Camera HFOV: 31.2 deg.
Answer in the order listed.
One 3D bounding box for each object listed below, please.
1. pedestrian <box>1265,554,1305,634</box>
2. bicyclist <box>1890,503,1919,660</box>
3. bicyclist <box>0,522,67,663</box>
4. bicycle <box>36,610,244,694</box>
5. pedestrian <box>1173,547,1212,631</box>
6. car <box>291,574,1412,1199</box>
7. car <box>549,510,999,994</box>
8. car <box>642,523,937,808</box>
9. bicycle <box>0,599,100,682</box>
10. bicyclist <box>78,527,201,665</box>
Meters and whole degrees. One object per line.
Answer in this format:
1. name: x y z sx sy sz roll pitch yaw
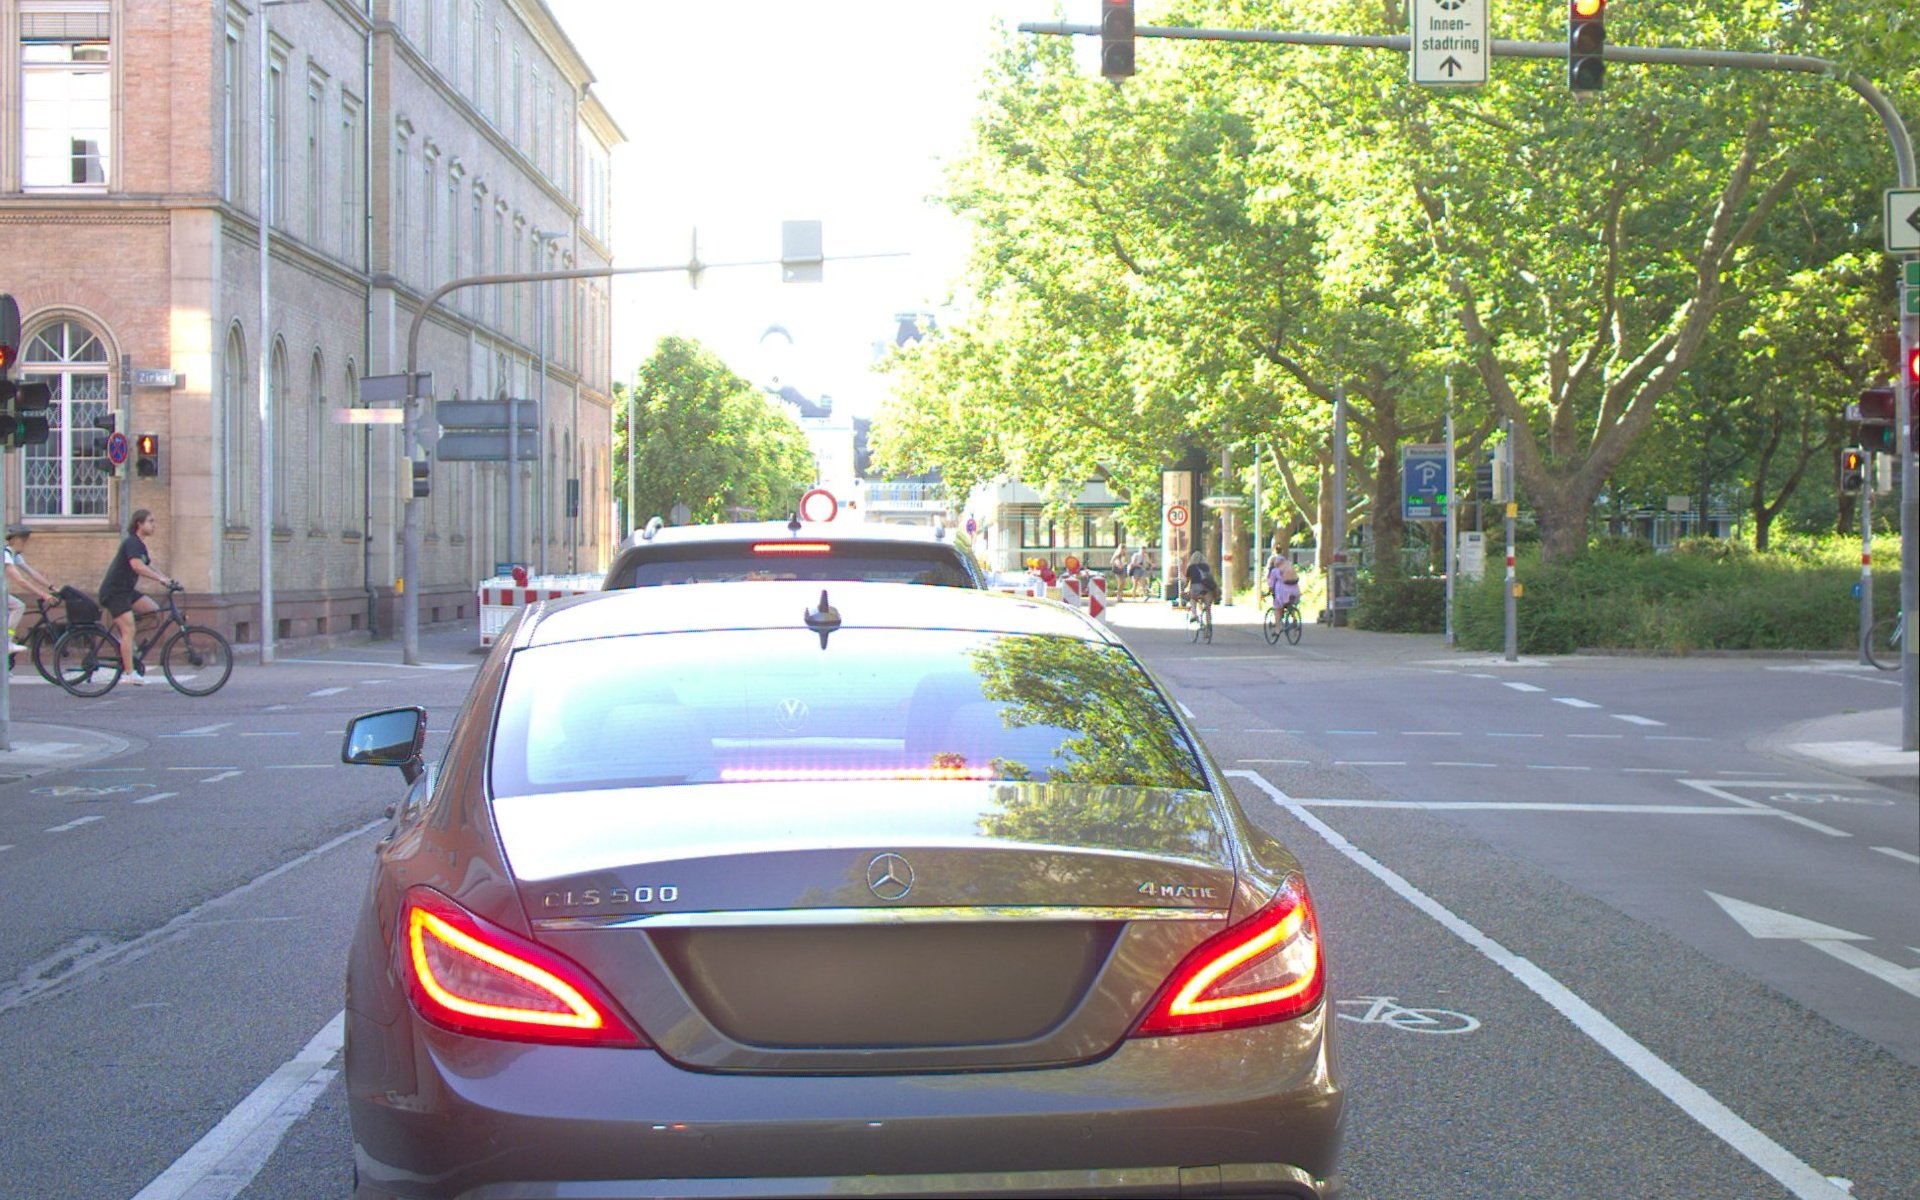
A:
1. pedestrian: 5.820 -0.107 61.545 0.648 1.428 0.659 0 1 -1
2. bicyclist: 12.388 -0.240 44.369 0.652 2.007 0.440 0 1 0
3. bicyclist: -10.336 -0.089 37.319 1.075 1.514 0.716 0 1 5
4. bicycle: -8.378 0.525 35.164 1.974 0.834 0.677 0 1 0
5. pedestrian: 4.198 -0.205 62.042 0.648 1.498 0.637 0 1 -1
6. car: -0.445 0.673 7.674 1.803 1.451 4.352 0 0 -8
7. car: -0.722 0.488 13.672 1.517 1.641 3.881 1 1 -3
8. car: -1.078 0.370 23.252 1.820 1.756 4.000 0 1 -1
9. bicycle: -10.379 0.434 37.326 1.893 0.879 0.725 0 1 4
10. bicyclist: -8.380 -0.050 35.151 1.103 1.398 0.657 0 1 -1
